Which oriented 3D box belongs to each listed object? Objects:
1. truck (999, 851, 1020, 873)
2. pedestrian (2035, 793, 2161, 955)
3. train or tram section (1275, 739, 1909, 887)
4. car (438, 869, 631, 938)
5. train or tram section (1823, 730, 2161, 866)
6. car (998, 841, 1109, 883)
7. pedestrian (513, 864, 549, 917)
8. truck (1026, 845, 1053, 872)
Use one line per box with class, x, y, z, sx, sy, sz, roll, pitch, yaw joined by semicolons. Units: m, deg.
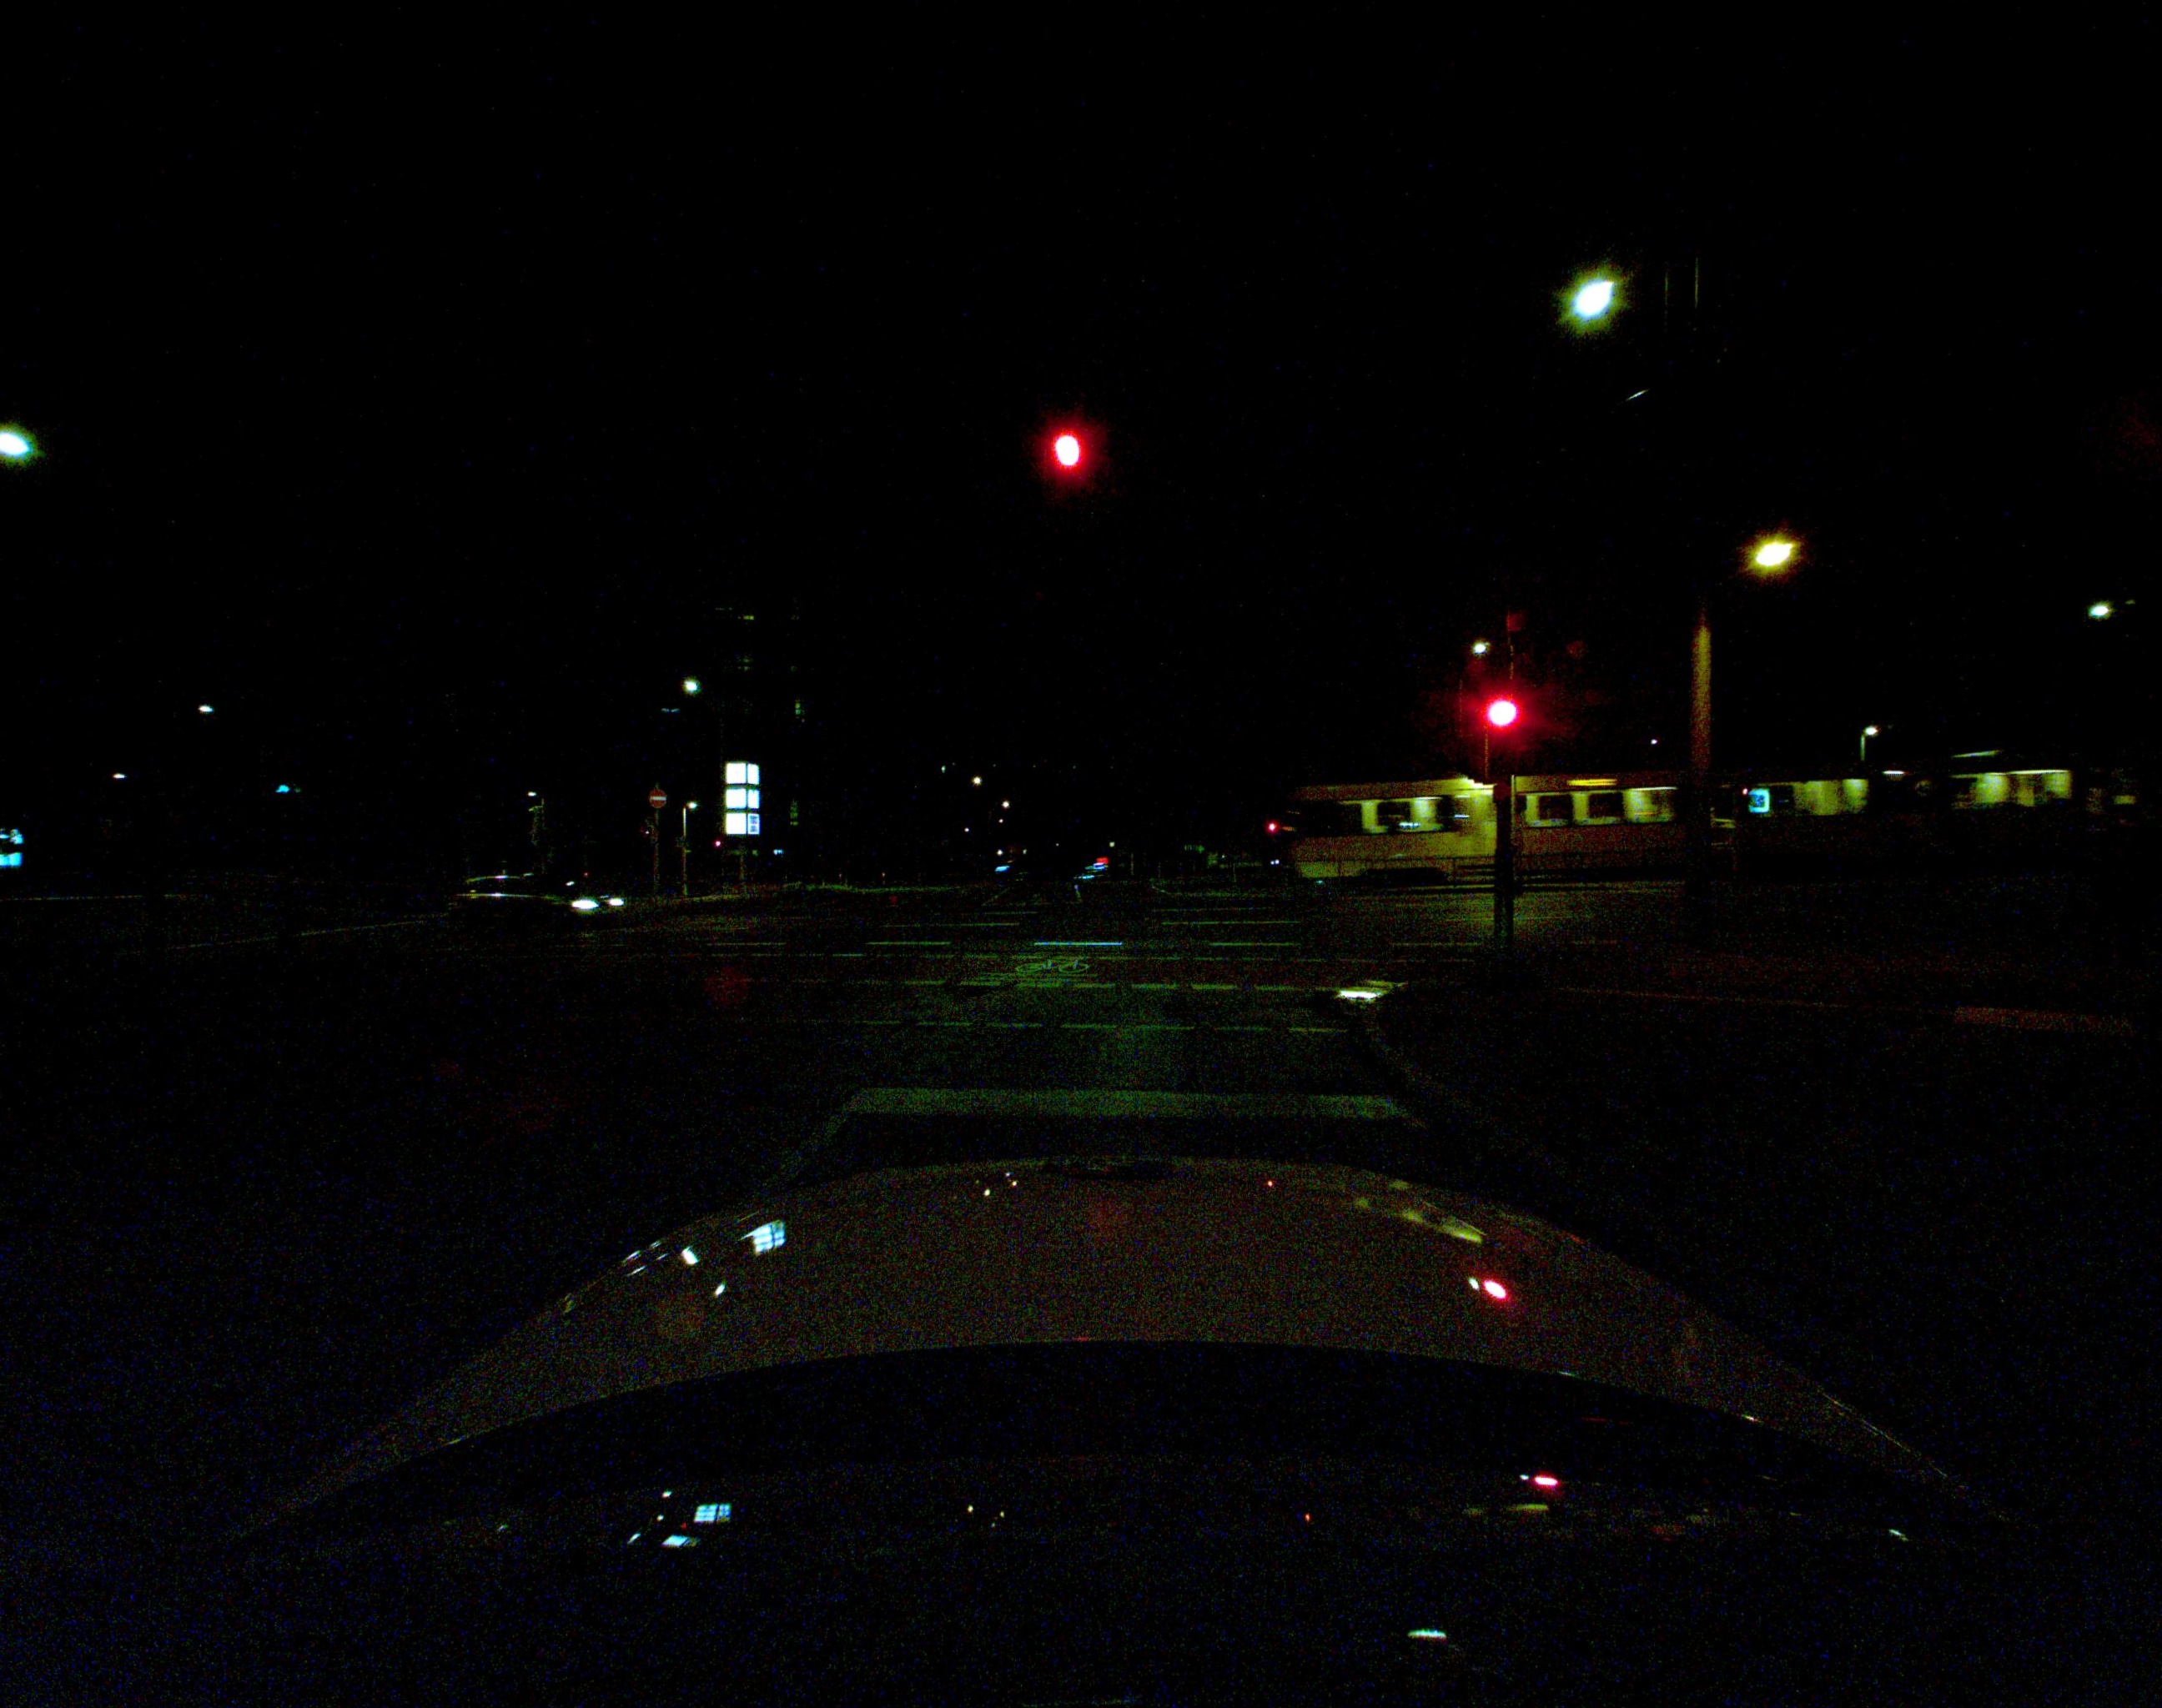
truck;-10.572;1.201;120.363;2.419;3.089;6.412;0;-1;-11
pedestrian;11.262;0.223;8.877;0.870;1.656;0.843;-8;-5;42
train or tram section;15.959;-1.240;26.847;18.328;3.849;2.970;-2;1;5
car;-13.521;1.210;20.263;3.669;1.420;1.645;-3;1;5
train or tram section;34.455;-1.805;25.317;18.760;3.850;2.970;-2;-1;5
car;-1.213;0.365;37.933;4.918;1.884;1.872;0;-1;6
pedestrian;-18.142;1.196;26.873;0.700;1.722;0.681;-1;-1;10
truck;-7.719;0.890;149.634;3.366;4.842;7.866;0;-1;-14
